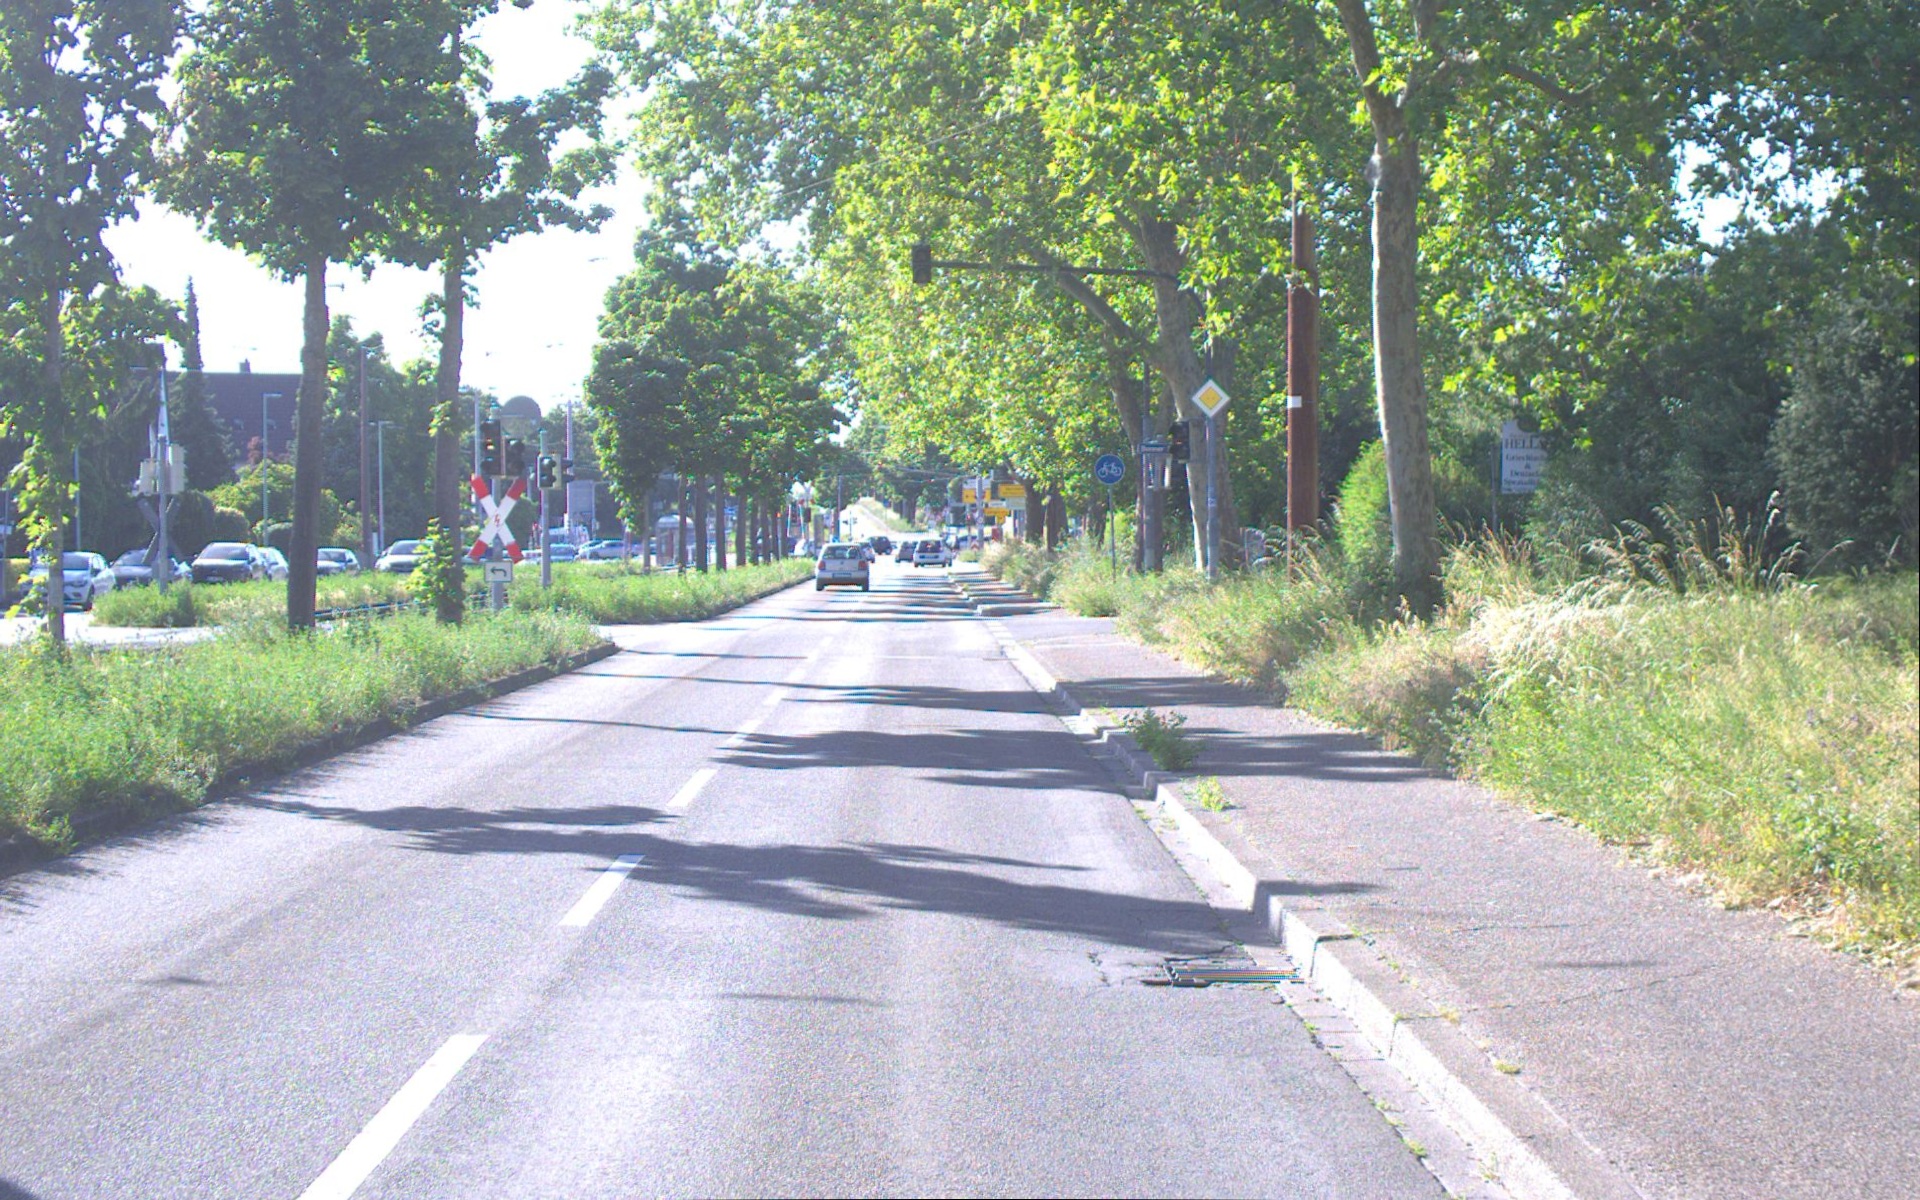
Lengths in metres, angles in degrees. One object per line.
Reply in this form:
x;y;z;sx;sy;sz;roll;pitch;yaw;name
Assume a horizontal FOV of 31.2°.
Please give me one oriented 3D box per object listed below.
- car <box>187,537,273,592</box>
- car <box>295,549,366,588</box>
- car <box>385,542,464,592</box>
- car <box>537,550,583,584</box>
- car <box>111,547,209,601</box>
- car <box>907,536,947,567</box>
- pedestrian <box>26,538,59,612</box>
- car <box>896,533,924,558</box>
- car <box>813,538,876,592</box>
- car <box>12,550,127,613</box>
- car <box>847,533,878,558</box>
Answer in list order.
-22.785;-1.122;107.438;1.748;1.645;4.555;1;1;-1;car
-23.127;-1.172;126.439;1.860;1.365;4.228;1;1;-1;car
-17.790;-1.105;114.386;1.993;1.598;4.474;1;1;-1;car
-18.930;-1.555;162.846;1.660;1.547;4.811;1;1;-1;car
-22.343;-0.741;96.111;1.729;1.461;4.603;1;1;-1;car
-1.739;-2.532;179.191;1.993;1.598;4.474;1;1;-1;car
-25.230;-0.688;94.531;0.680;2.007;0.772;1;1;-1;pedestrian
-3.303;-3.555;225.389;1.791;1.554;4.228;1;1;-1;car
-3.511;-1.081;105.139;1.860;1.595;4.228;1;1;-1;car
-22.565;-0.488;87.237;1.860;1.537;4.228;1;1;-1;car
-6.365;-3.582;225.233;1.993;1.598;4.474;1;1;-1;car
